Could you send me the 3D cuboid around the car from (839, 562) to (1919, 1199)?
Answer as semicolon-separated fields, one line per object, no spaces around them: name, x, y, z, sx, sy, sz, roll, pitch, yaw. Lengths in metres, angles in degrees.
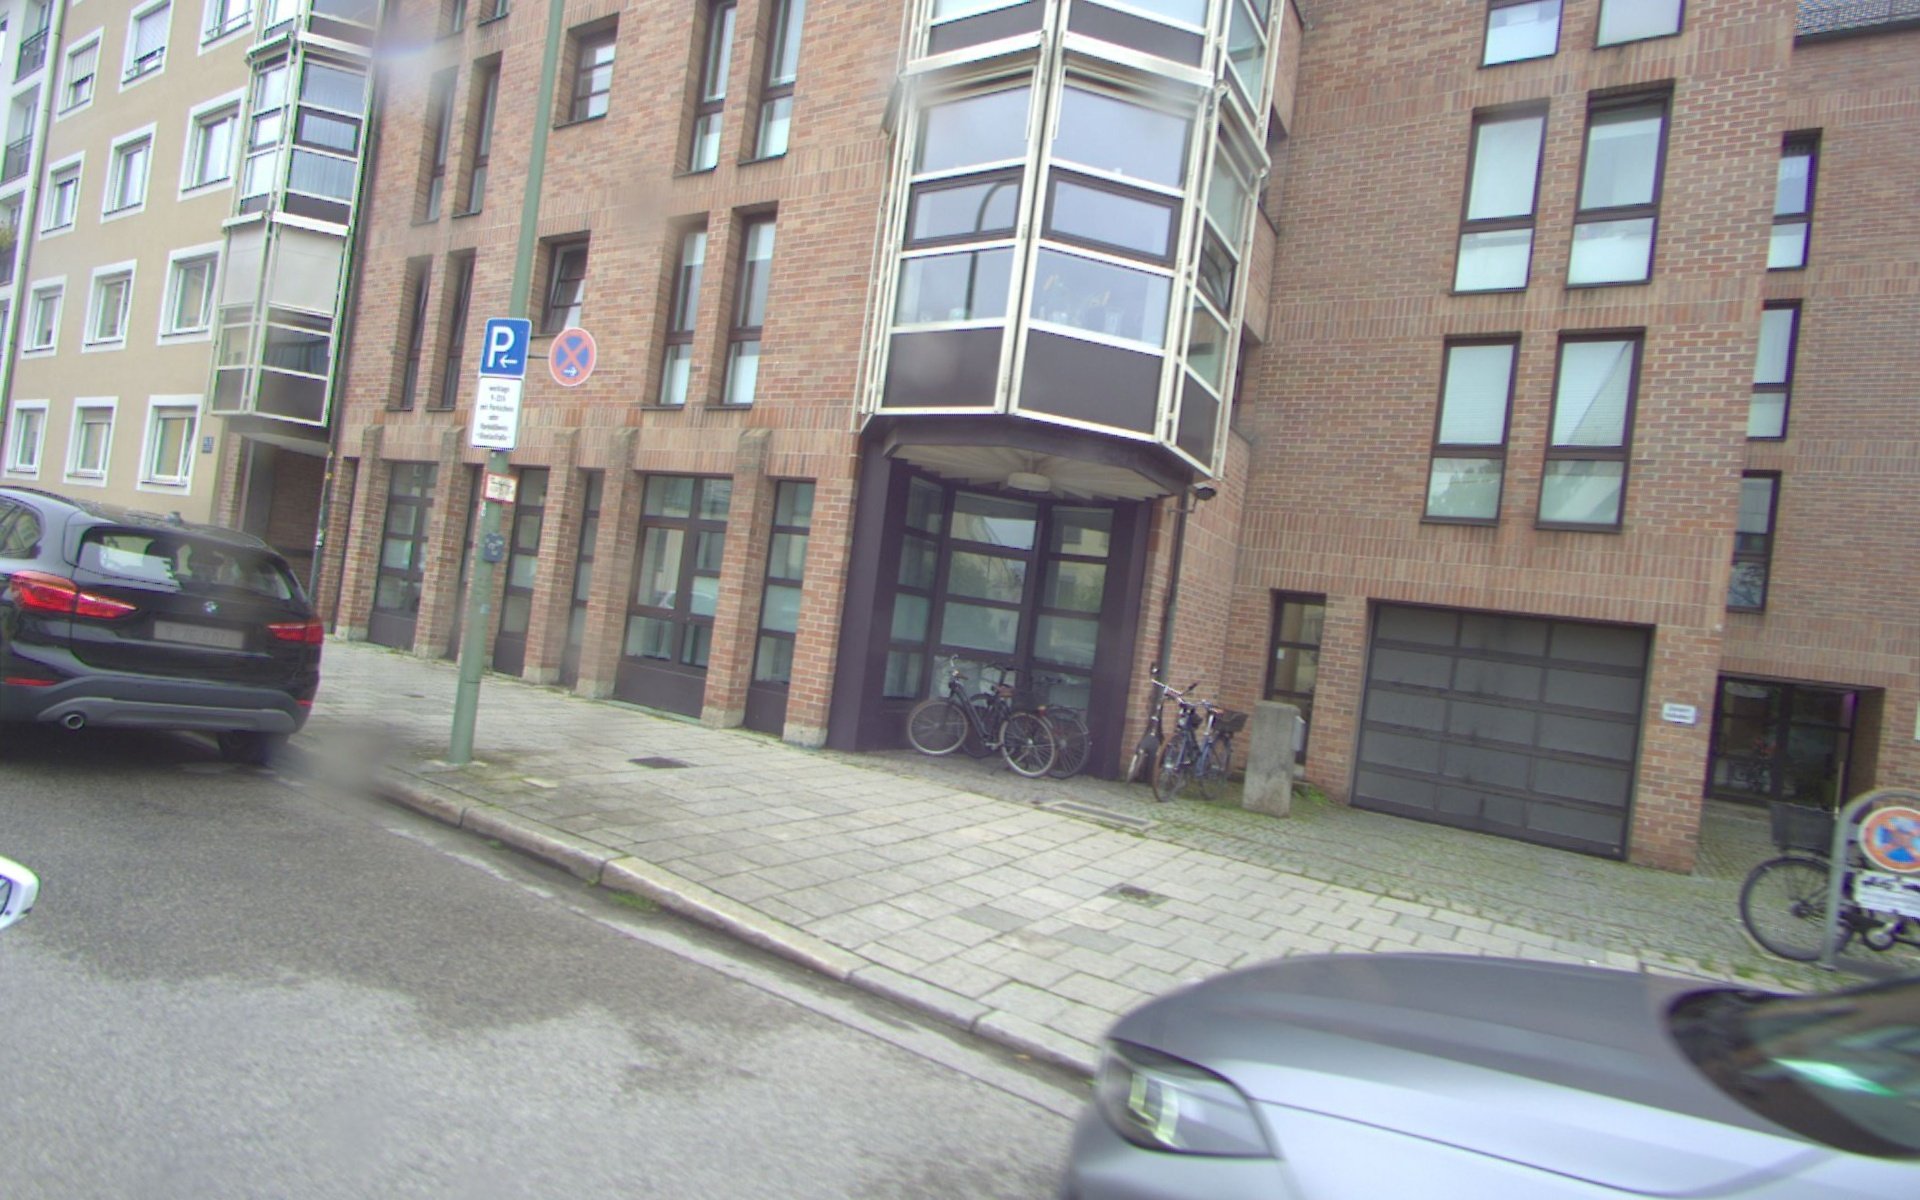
car;2.133;1.035;1.362;4.321;1.528;1.929;7;-3;34

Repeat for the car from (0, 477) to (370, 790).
car;-6.333;0.032;7.039;4.193;1.619;1.835;8;-2;31

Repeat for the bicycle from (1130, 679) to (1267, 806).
bicycle;2.532;1.508;10.520;0.481;1.159;1.849;8;-3;40

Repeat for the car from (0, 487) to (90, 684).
car;-10.315;-0.464;9.264;4.592;1.619;1.970;8;-2;31

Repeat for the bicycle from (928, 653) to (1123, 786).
bicycle;0.671;1.256;10.800;1.962;1.071;0.487;8;-2;32

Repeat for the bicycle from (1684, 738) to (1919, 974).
bicycle;6.113;1.688;6.330;2.372;1.262;0.535;6;-3;29

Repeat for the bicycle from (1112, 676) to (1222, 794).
bicycle;2.275;1.491;10.932;0.377;1.159;1.477;8;-2;40

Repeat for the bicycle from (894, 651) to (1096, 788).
bicycle;0.326;1.189;10.302;1.963;1.071;0.487;7;-3;32
